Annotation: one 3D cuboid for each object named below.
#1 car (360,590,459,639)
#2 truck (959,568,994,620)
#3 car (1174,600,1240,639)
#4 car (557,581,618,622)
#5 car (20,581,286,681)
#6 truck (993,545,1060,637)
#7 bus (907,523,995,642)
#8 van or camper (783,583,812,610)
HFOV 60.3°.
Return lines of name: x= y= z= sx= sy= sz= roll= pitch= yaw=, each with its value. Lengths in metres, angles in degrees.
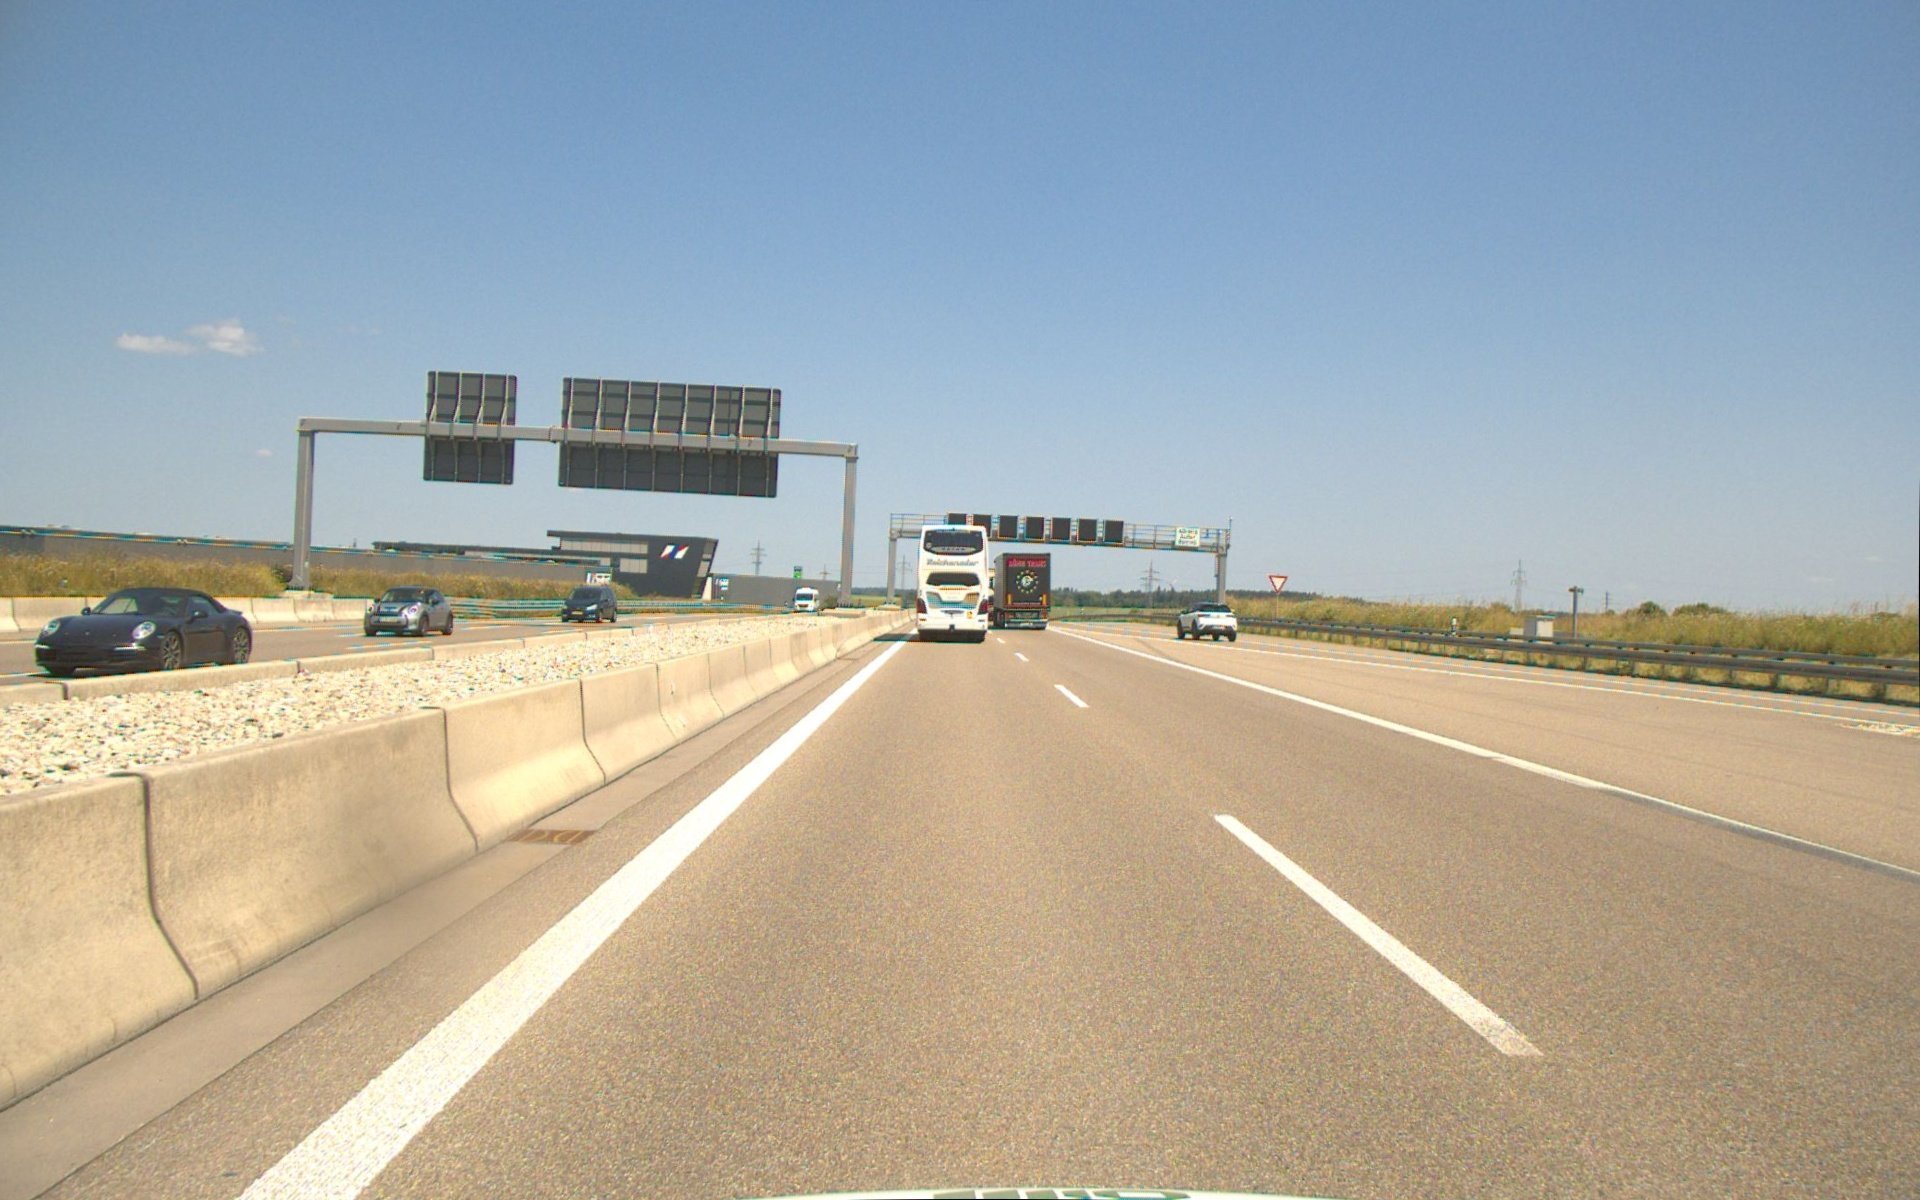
car: x=-16.300 y=0.415 z=49.154 sx=1.854 sy=1.352 sz=3.982 roll=1 pitch=0 yaw=-5
truck: x=1.255 y=-0.460 z=128.546 sx=2.388 sy=3.855 sz=6.491 roll=1 pitch=0 yaw=-1
car: x=10.287 y=0.797 z=69.099 sx=1.853 sy=1.556 sz=4.258 roll=1 pitch=0 yaw=-4
car: x=-17.478 y=0.068 z=77.873 sx=1.809 sy=1.855 sz=4.920 roll=1 pitch=0 yaw=-1
car: x=-12.610 y=0.448 z=26.229 sx=1.806 sy=1.406 sz=4.752 roll=1 pitch=0 yaw=1
truck: x=3.618 y=-0.318 z=93.204 sx=3.310 sy=4.542 sz=13.566 roll=2 pitch=-2 yaw=1
bus: x=-0.448 y=-0.670 z=61.462 sx=2.920 sy=4.044 sz=9.102 roll=1 pitch=1 yaw=-2
van or camper: x=-16.391 y=-0.360 z=167.174 sx=2.272 sy=2.603 sz=6.314 roll=1 pitch=0 yaw=-1
